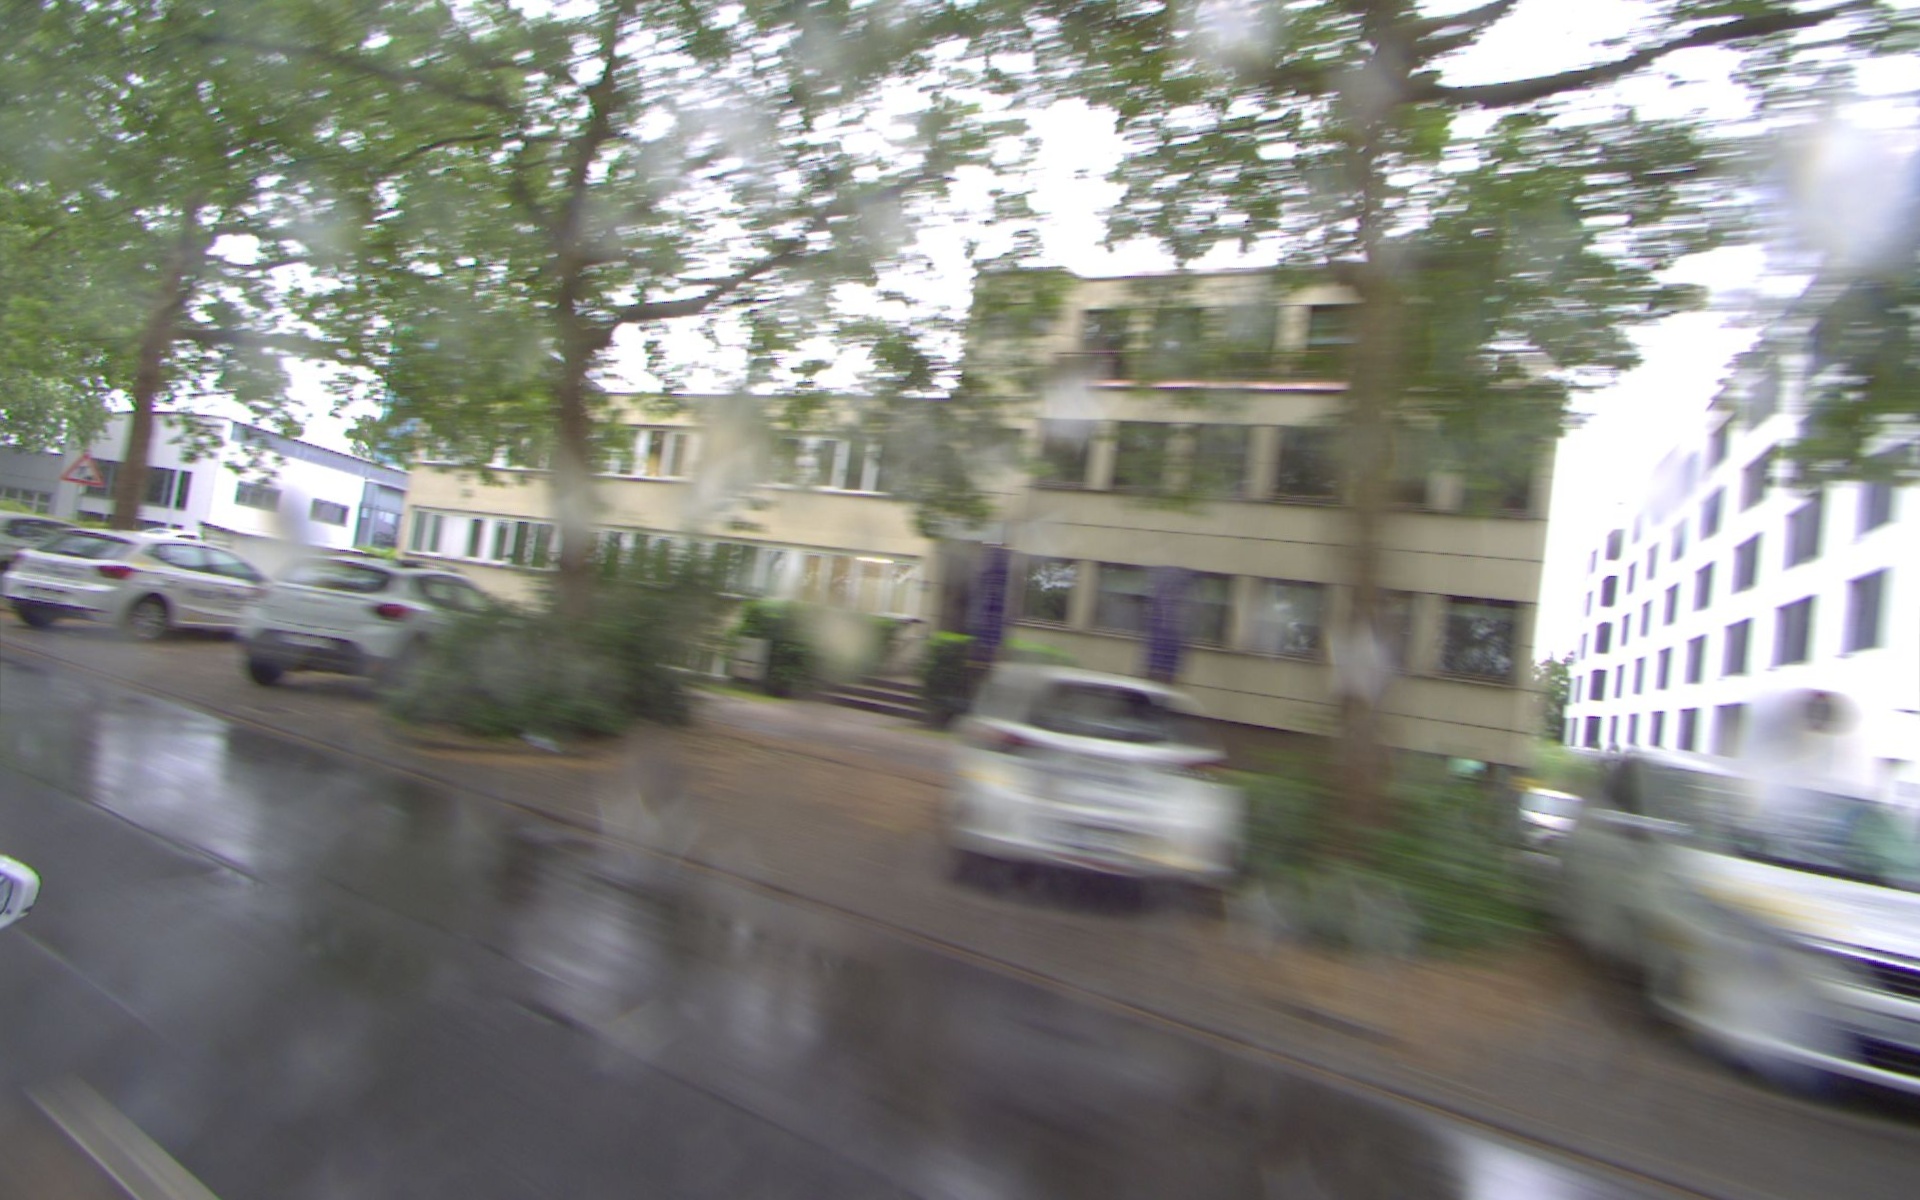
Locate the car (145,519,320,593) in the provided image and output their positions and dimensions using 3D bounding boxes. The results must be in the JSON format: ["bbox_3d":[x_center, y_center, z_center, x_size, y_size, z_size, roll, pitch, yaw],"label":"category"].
[{"bbox_3d":[-25.296,-1.480,35.198,1.718,1.776,4.553,7,-3,26],"label":"car"}]

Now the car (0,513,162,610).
[{"bbox_3d":[-16.286,-0.736,17.457,1.743,1.432,3.696,8,-3,0],"label":"car"}]

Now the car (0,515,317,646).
[{"bbox_3d":[-11.611,-0.175,14.701,1.716,1.432,3.698,8,-3,4],"label":"car"}]

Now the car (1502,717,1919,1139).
[{"bbox_3d":[4.730,1.670,5.997,1.716,1.522,3.651,8,-2,16],"label":"car"}]

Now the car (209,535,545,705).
[{"bbox_3d":[-6.950,0.298,12.584,1.717,1.556,4.041,8,-3,-1],"label":"car"}]

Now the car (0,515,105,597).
[{"bbox_3d":[-18.935,-0.981,19.297,1.717,1.432,3.696,8,-3,0],"label":"car"}]

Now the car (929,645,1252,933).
[{"bbox_3d":[0.777,1.200,7.887,1.717,1.444,4.042,8,-3,1],"label":"car"}]

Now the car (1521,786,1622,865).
[{"bbox_3d":[15.260,5.570,25.291,1.719,1.531,4.313,5,-7,27],"label":"car"}]

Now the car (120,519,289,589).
[{"bbox_3d":[-27.596,-1.638,36.954,1.748,1.776,4.555,7,-3,23],"label":"car"}]
